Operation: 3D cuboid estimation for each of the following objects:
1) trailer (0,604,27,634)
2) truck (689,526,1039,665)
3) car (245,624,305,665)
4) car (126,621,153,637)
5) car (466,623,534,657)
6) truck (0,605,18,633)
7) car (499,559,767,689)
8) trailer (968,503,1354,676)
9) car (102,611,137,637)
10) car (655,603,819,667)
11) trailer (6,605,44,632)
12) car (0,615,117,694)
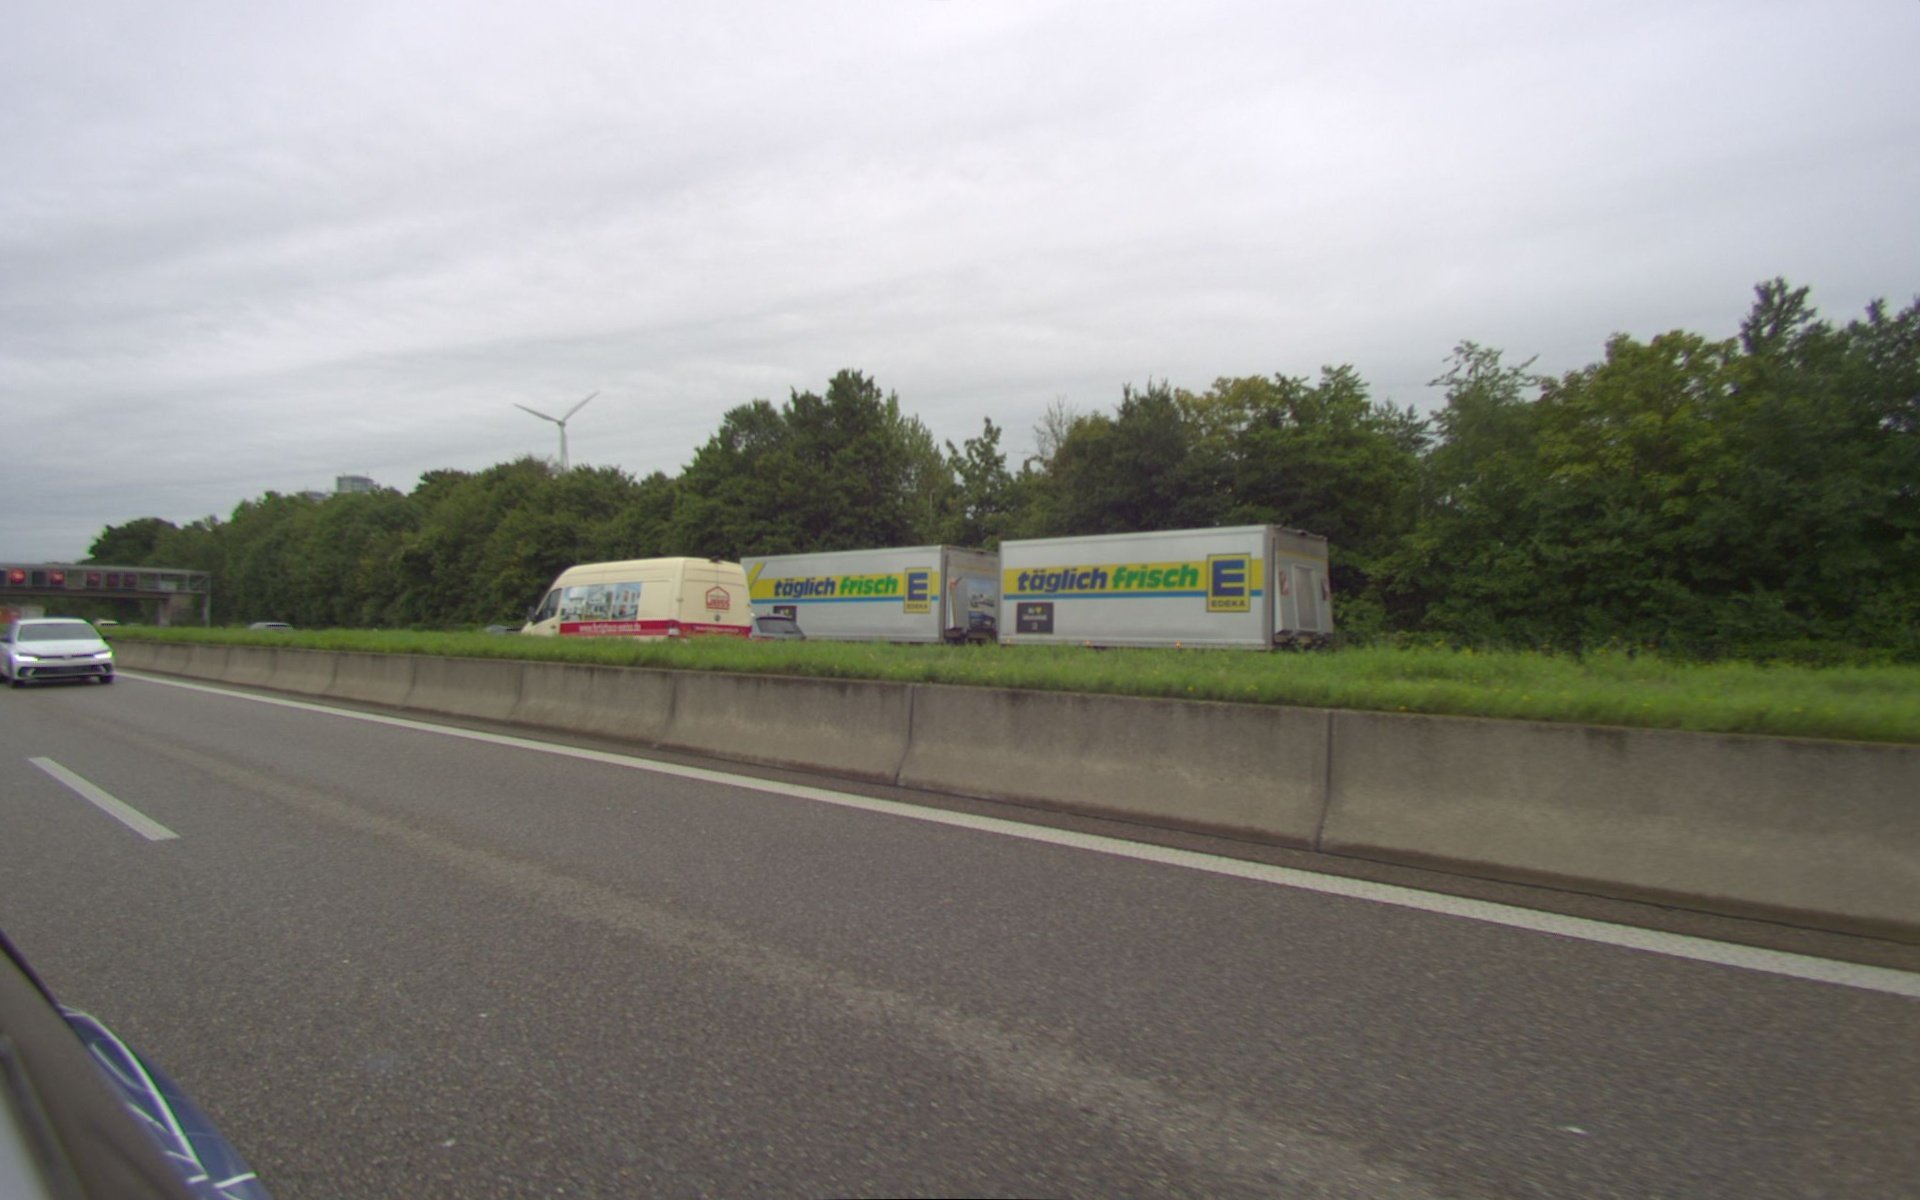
[{"bbox_3d":[-116.941,2.299,124.133,8.316,3.485,2.901,-1,0,41],"label":"trailer"},{"bbox_3d":[-3.170,-0.065,28.390,11.355,3.245,2.853,-1,0,42],"label":"truck"},{"bbox_3d":[-35.905,2.284,53.023,3.952,2.029,1.684,-1,0,41],"label":"car"},{"bbox_3d":[-100.437,3.521,123.818,4.304,1.802,1.972,-1,0,43],"label":"car"},{"bbox_3d":[-26.183,2.219,57.543,3.997,1.807,1.973,-1,0,40],"label":"car"},{"bbox_3d":[-124.455,2.457,130.652,11.178,3.492,2.921,-1,0,41],"label":"truck"},{"bbox_3d":[-7.317,0.473,21.958,7.319,2.403,2.037,-1,0,41],"label":"car"},{"bbox_3d":[4.033,-0.166,21.851,7.870,3.100,2.748,-1,0,42],"label":"trailer"},{"bbox_3d":[-67.810,1.903,81.635,3.998,2.029,1.603,-1,-1,41],"label":"car"},{"bbox_3d":[-5.516,0.806,24.803,3.999,1.423,1.972,-1,0,42],"label":"car"},{"bbox_3d":[-128.255,2.465,138.778,11.865,3.567,2.658,-1,0,41],"label":"trailer"},{"bbox_3d":[-20.702,1.167,22.933,4.661,1.630,1.735,-1,-2,41],"label":"car"}]
